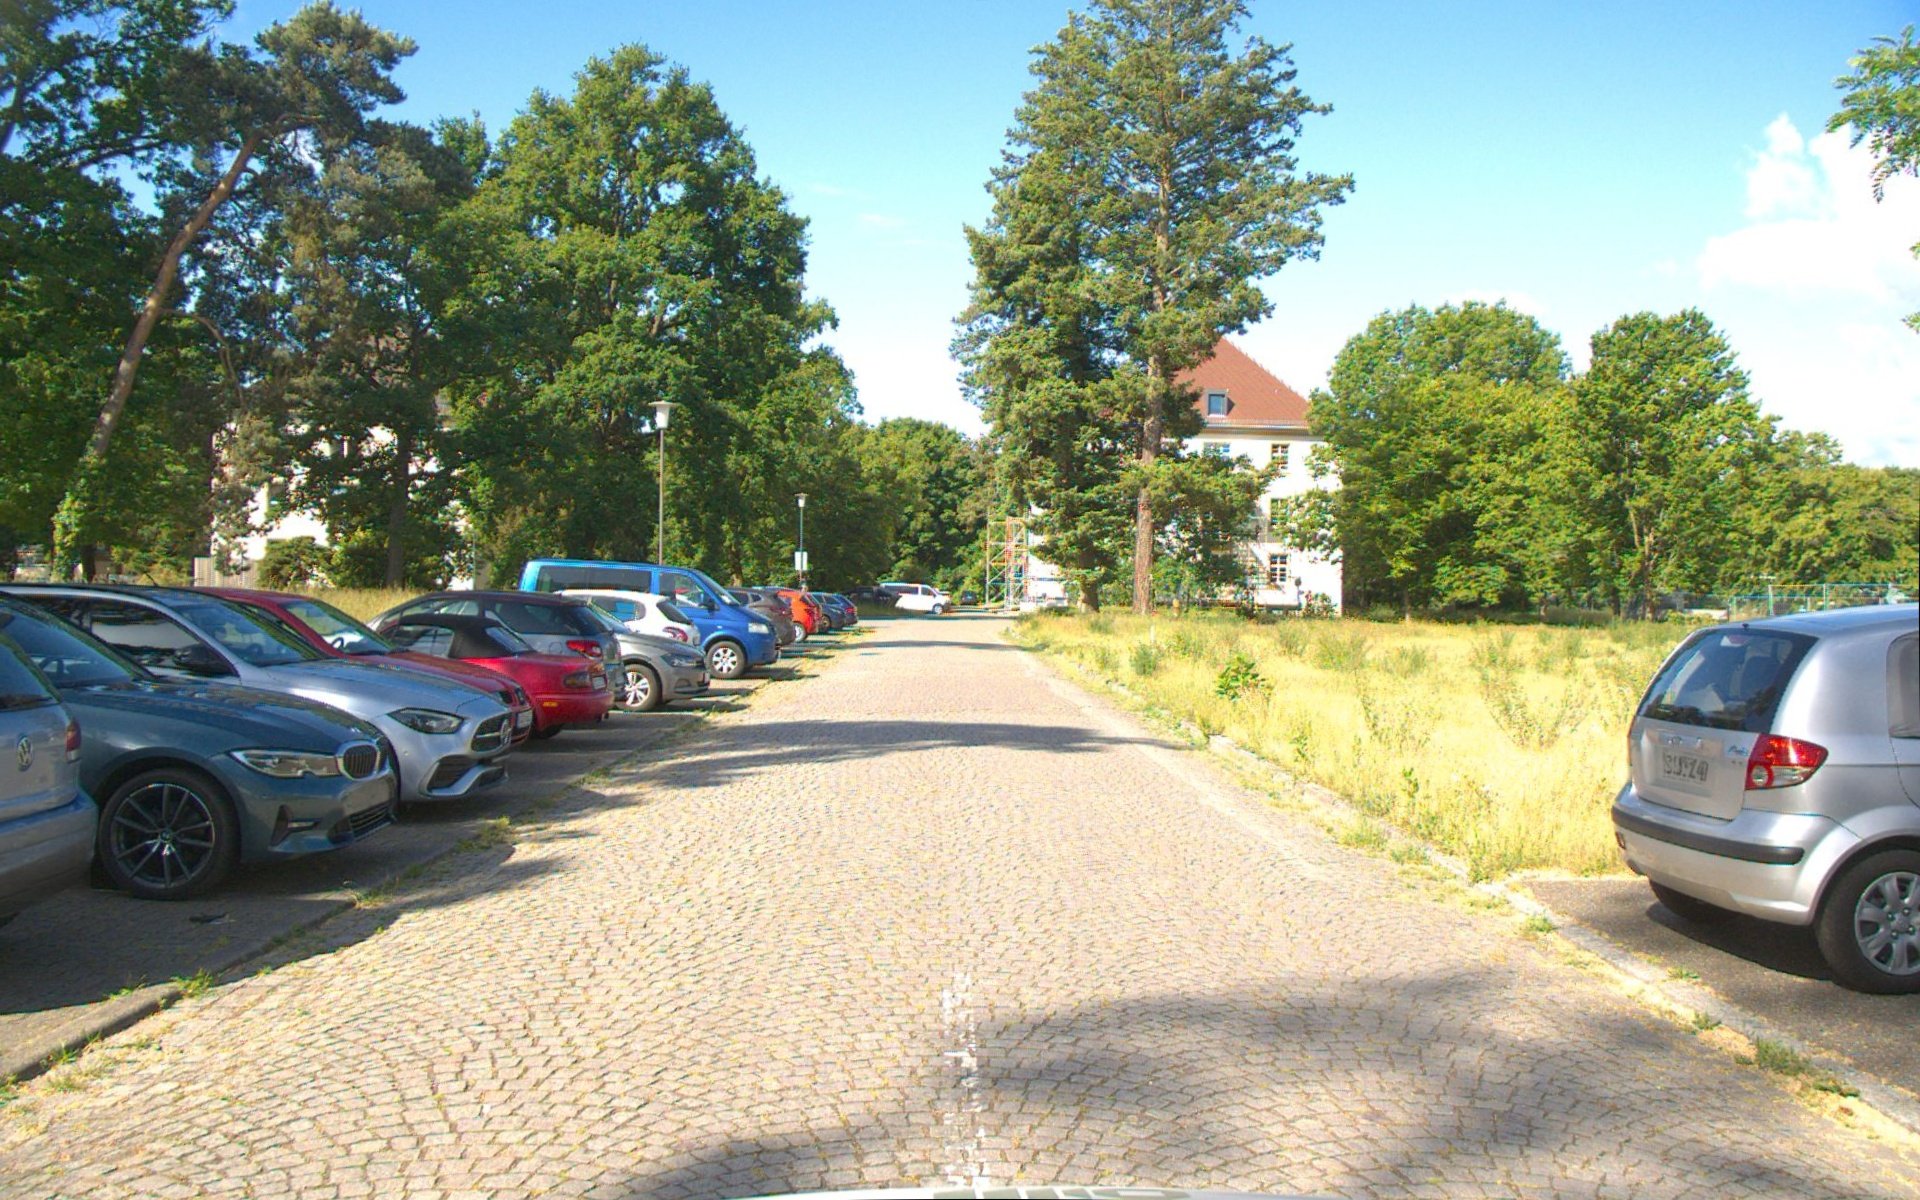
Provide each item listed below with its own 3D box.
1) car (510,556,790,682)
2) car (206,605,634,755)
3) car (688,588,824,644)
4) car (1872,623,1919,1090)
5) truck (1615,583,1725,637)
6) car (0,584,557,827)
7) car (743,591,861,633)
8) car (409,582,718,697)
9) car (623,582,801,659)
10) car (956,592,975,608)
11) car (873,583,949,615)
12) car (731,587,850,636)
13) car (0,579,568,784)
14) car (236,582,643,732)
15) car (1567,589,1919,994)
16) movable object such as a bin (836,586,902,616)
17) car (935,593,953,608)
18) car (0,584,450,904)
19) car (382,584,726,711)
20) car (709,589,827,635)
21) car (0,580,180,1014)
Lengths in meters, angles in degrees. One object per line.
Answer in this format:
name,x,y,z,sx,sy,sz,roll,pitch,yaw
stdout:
car,-5.519,0.331,29.892,4.622,2.002,2.005,2,0,-1
car,-5.164,0.748,16.179,3.556,1.256,1.760,2,-1,0
car,-6.019,0.456,49.160,3.845,1.486,1.841,2,1,-3
car,5.001,0.749,4.591,3.924,1.466,1.843,-2,1,-3
truck,34.658,0.453,80.991,2.188,2.466,6.883,2,0,-2
car,-5.453,0.655,11.517,4.766,1.446,1.938,2,-1,-1
car,-6.095,0.448,64.122,4.269,1.470,1.921,2,1,2
car,-5.810,0.563,24.602,4.111,1.501,1.823,2,0,-1
car,-5.760,0.466,38.836,3.874,1.595,1.973,2,1,-3
car,0.607,0.032,179.473,1.931,1.697,4.085,0,0,-2
car,-3.321,-0.057,113.069,5.129,2.051,1.949,1,0,-2
car,-6.059,0.402,59.440,4.051,1.607,1.884,1,0,-1
car,-5.921,0.628,13.850,4.766,1.445,1.938,2,0,-1
car,-5.808,0.629,18.833,3.993,1.477,1.821,2,-1,0
car,4.870,0.695,7.332,3.666,1.502,1.751,-2,0,-3
movable object such as a bin,-5.491,0.056,99.922,3.490,1.775,2.026,0,0,18
car,-1.743,0.065,179.118,1.775,1.607,4.133,0,0,-2
car,-5.267,0.656,8.802,4.491,1.477,1.982,2,0,-5
car,-5.229,0.594,21.733,3.993,1.450,1.923,2,0,0
car,-6.587,0.411,57.031,3.843,1.458,1.842,2,1,0
car,-5.376,0.640,6.179,3.946,1.509,1.948,2,1,-3
